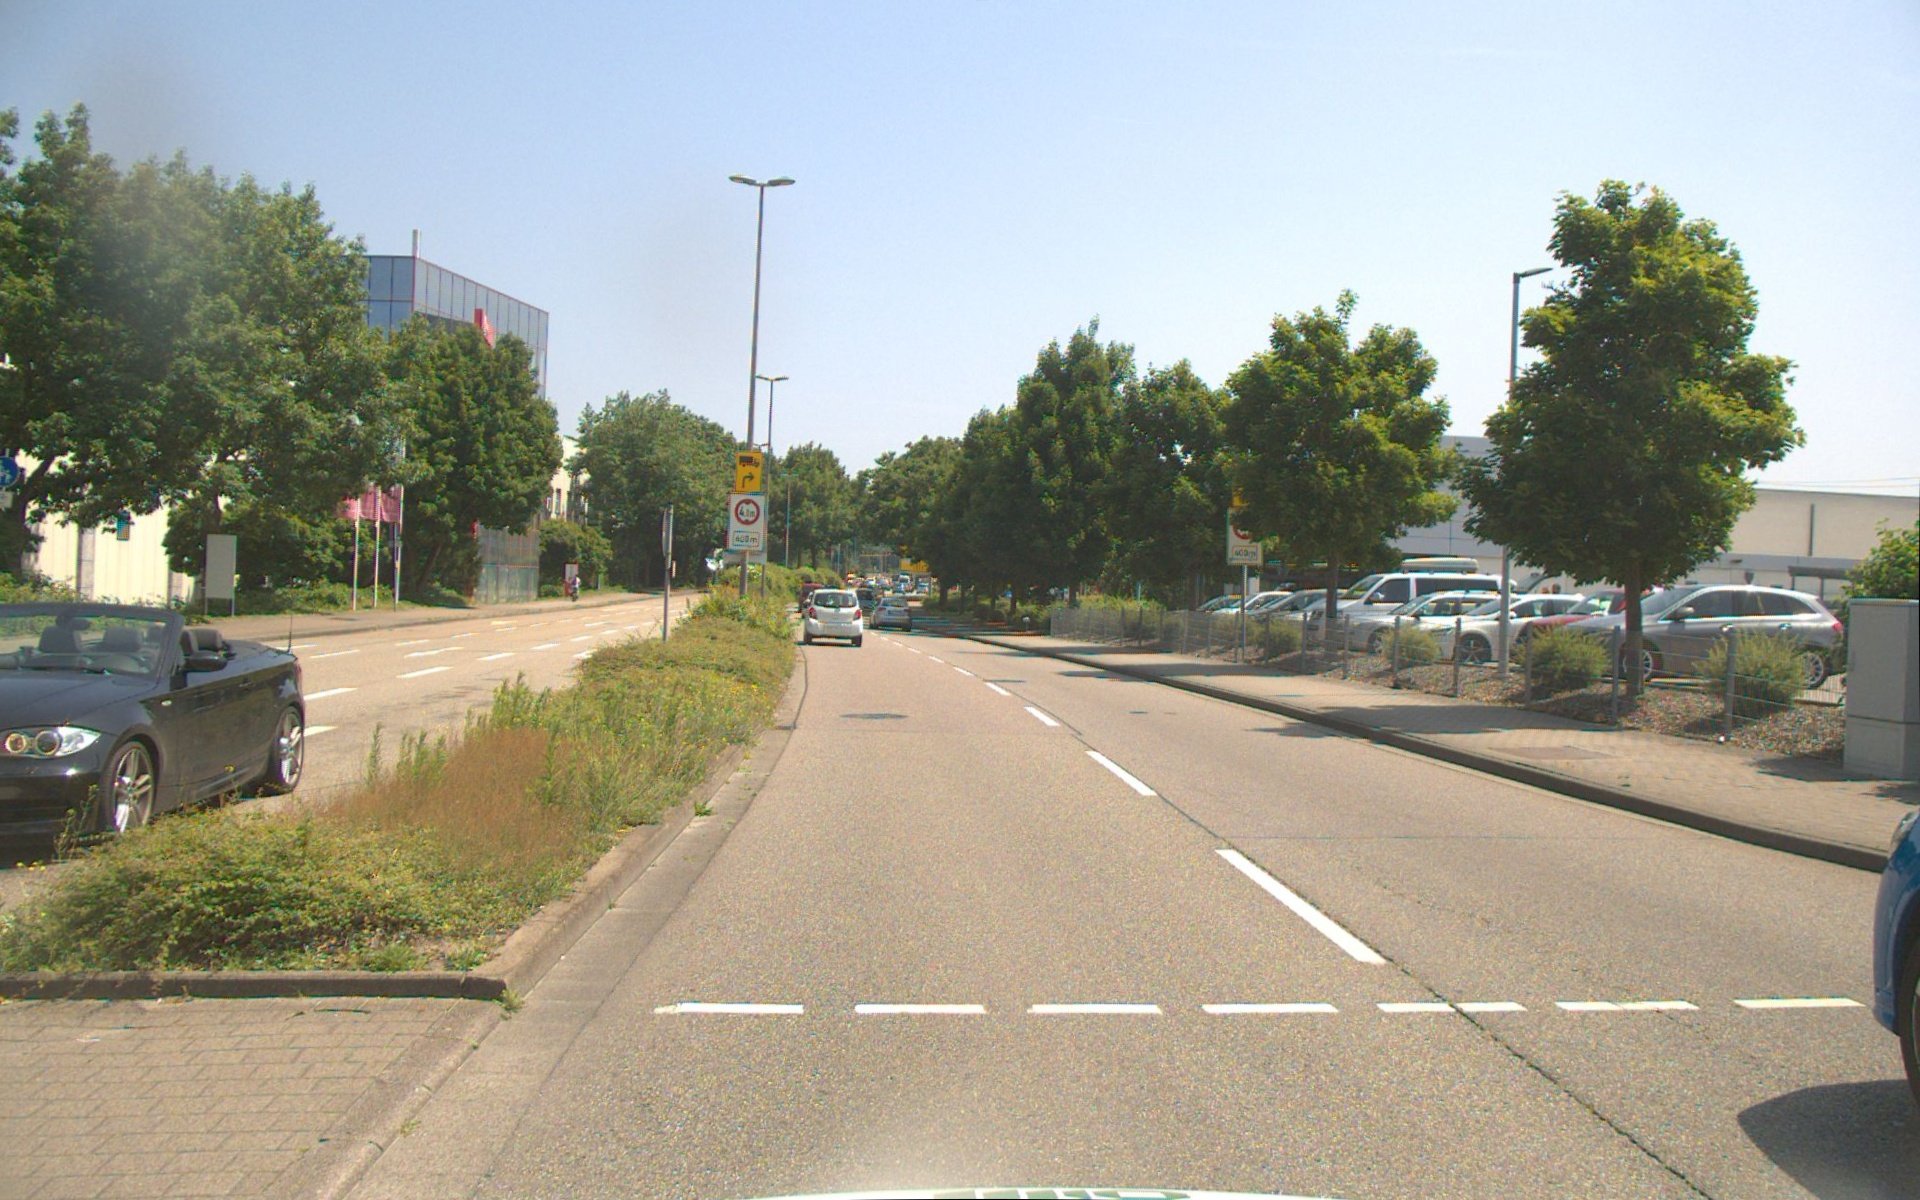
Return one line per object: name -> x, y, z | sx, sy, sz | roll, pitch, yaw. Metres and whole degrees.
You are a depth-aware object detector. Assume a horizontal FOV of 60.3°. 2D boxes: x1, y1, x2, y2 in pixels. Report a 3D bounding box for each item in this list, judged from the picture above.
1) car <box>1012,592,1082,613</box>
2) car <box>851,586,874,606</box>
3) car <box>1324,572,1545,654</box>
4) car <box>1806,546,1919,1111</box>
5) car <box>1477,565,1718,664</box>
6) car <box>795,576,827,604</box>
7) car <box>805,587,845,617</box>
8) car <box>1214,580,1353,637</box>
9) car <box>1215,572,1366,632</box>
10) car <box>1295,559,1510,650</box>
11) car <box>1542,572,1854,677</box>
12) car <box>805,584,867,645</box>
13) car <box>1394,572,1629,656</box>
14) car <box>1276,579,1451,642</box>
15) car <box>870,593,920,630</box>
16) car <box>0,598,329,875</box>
car -> 5.770, 0.147, 110.162 | 1.936, 1.375, 4.645 | 0, 0, -41
car -> -6.788, -0.280, 114.933 | 1.413, 1.372, 3.455 | 1, 0, -6
car -> 10.391, 0.266, 36.379 | 4.280, 1.620, 1.826 | 2, 0, -3
car -> 3.710, 0.698, 3.202 | 1.772, 1.620, 4.348 | 2, 0, -2
car -> 11.078, 0.248, 28.839 | 3.523, 1.563, 1.720 | 2, 0, -9
car -> -9.117, -0.615, 100.974 | 1.848, 1.636, 3.995 | 1, 0, -6
car -> -7.014, 0.096, 85.411 | 1.849, 1.377, 3.994 | 3, 0, -7
car -> 10.316, 0.269, 52.843 | 3.913, 1.624, 1.823 | 3, 0, -9
car -> 9.537, 0.062, 47.829 | 3.909, 1.561, 1.825 | 2, -1, -5
car -> 10.459, 0.099, 39.256 | 4.526, 1.958, 1.825 | 2, 0, -5
car -> 11.440, 0.371, 25.790 | 4.087, 1.446, 1.697 | 2, 0, -3
car -> -3.534, 0.390, 46.918 | 1.606, 1.579, 3.322 | 3, 0, -5
car -> 10.589, 0.252, 31.881 | 3.918, 1.446, 1.696 | 2, 0, -6
car -> 10.168, 0.252, 41.850 | 3.909, 1.414, 1.825 | 2, 0, -5
car -> -2.972, 0.504, 75.003 | 1.831, 1.498, 3.993 | 3, 0, -8
car -> -5.404, 0.683, 10.298 | 1.696, 1.347, 4.144 | 1, 0, -6
